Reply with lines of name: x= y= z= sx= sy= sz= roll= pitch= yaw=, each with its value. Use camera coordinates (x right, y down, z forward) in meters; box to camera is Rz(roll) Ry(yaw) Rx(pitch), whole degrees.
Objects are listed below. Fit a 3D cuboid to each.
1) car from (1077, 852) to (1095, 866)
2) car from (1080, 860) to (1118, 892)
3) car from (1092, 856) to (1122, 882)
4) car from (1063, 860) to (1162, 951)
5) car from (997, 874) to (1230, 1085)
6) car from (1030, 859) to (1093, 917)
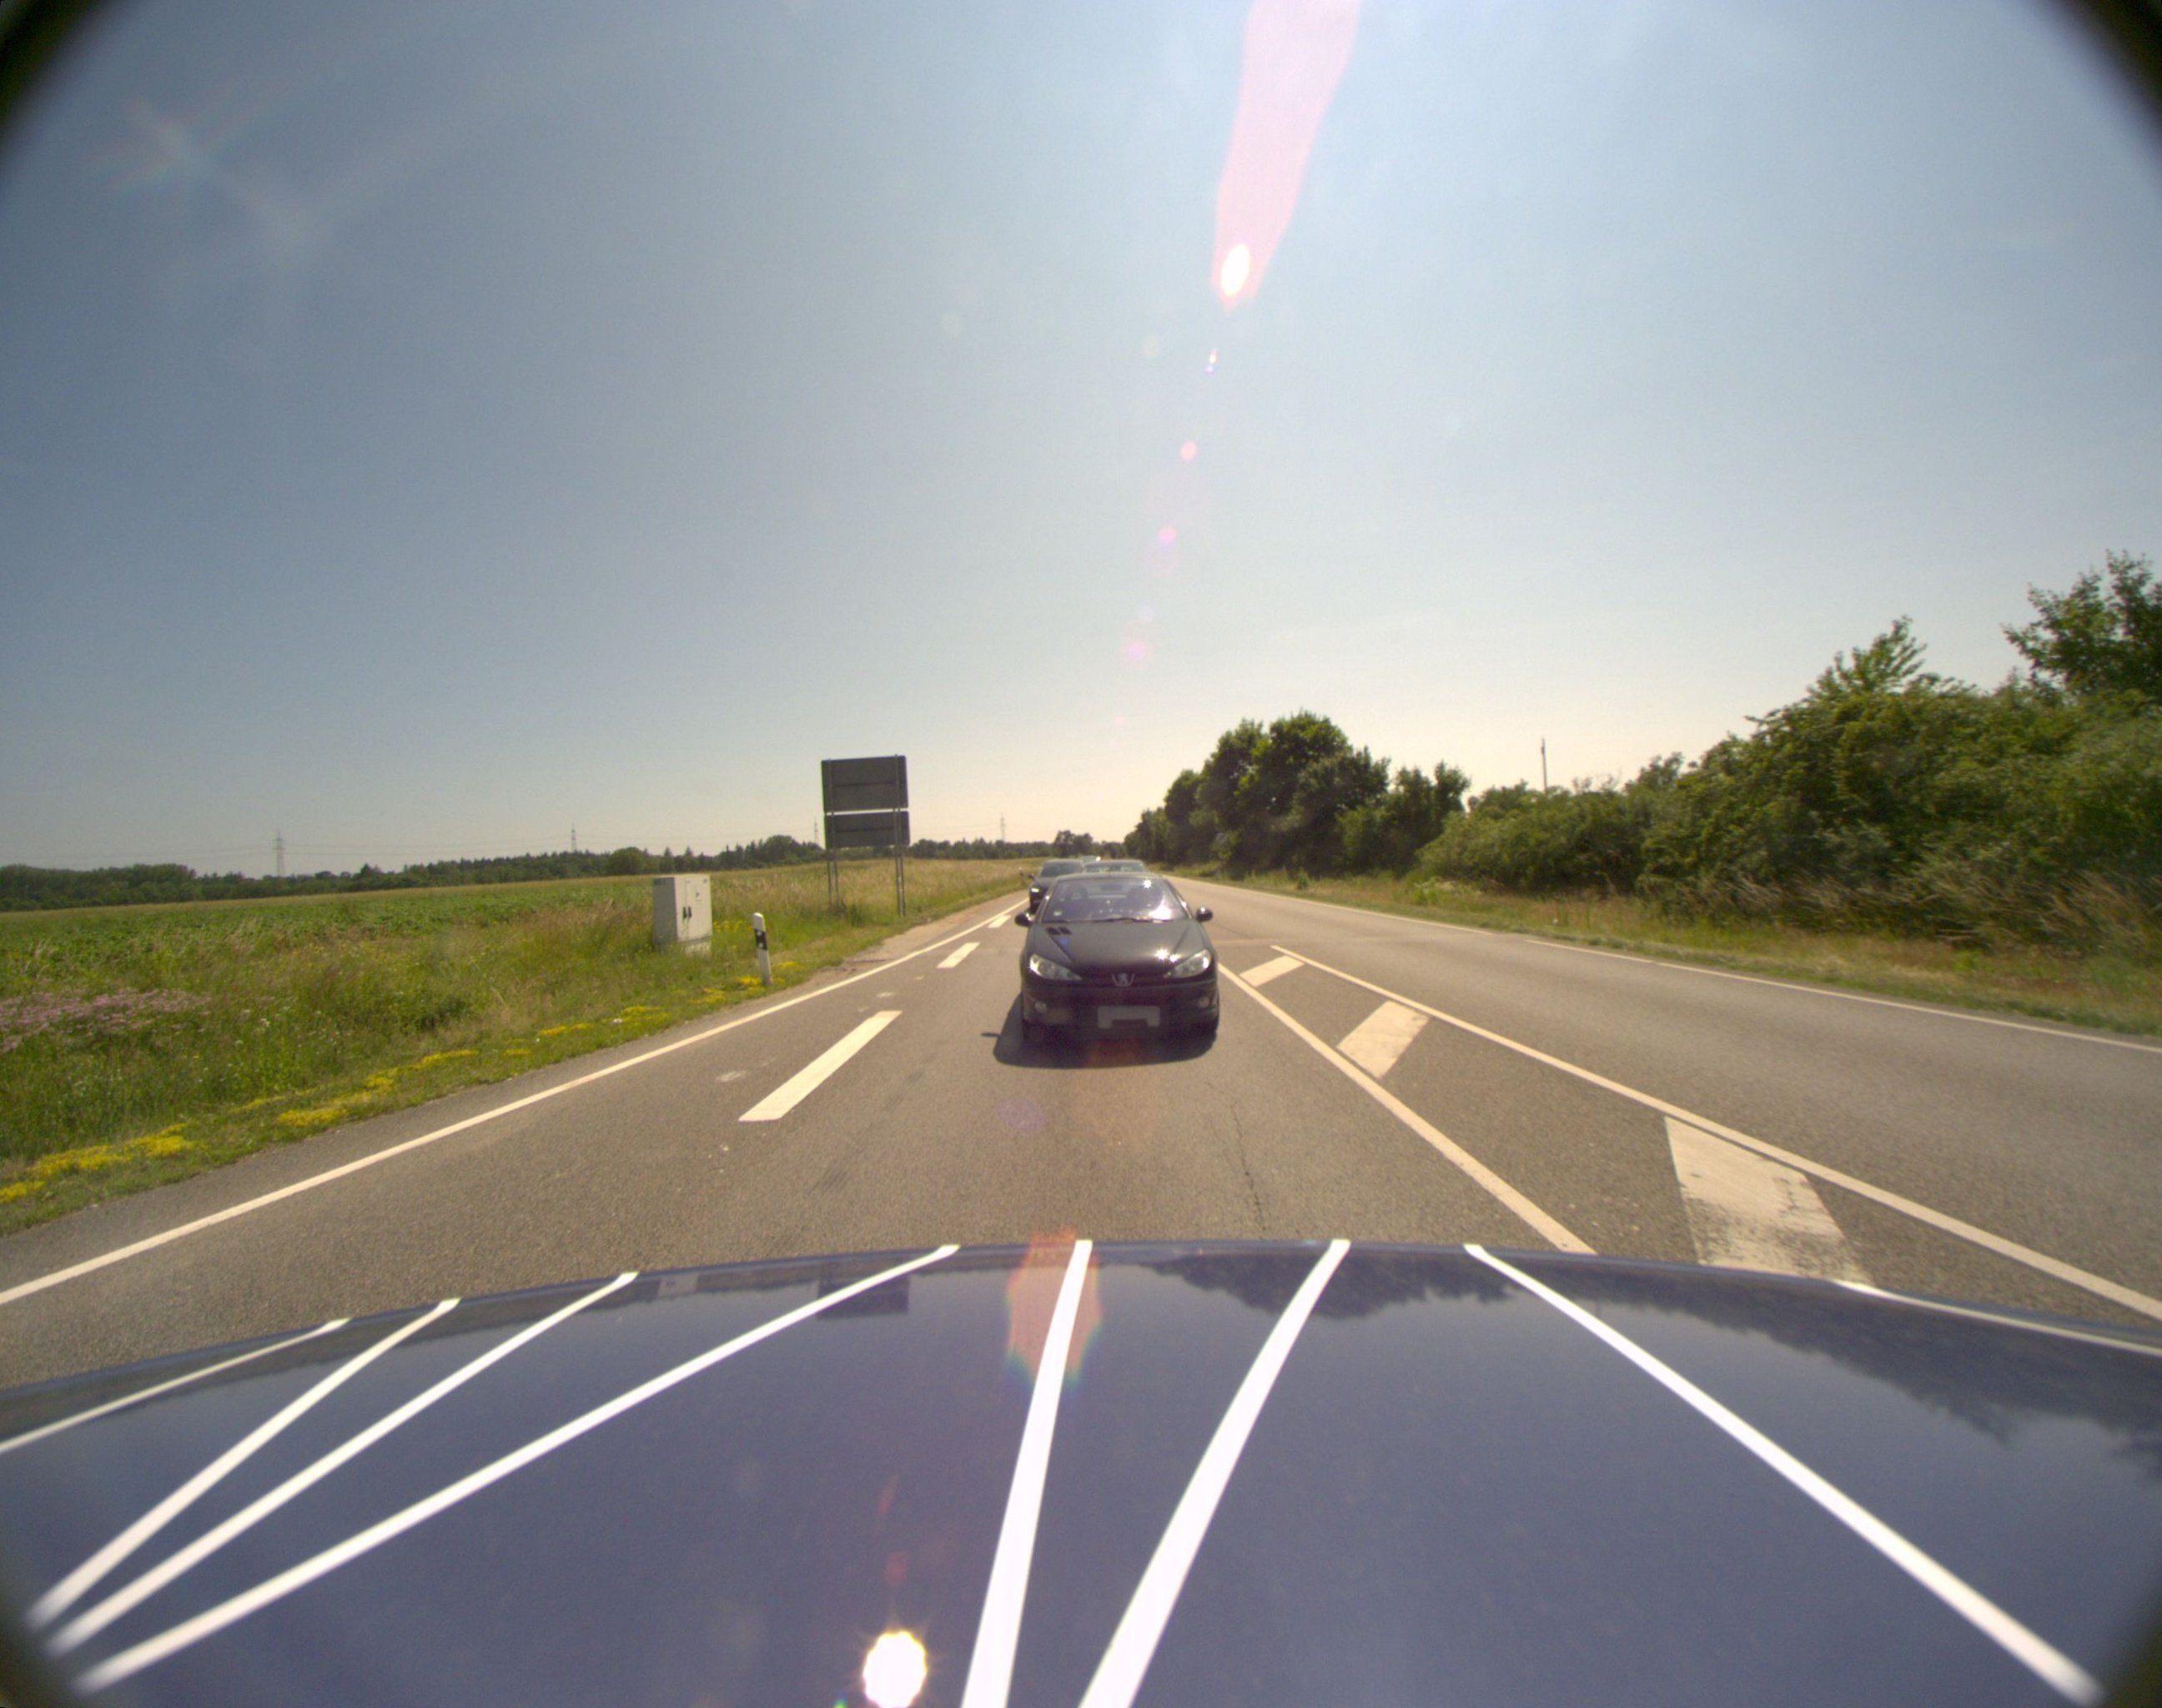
car: x=0.490 y=0.456 z=72.780 sx=1.588 sy=1.294 sz=3.631 roll=-2 pitch=0 yaw=1
car: x=0.797 y=0.953 z=34.153 sx=1.588 sy=1.294 sz=3.631 roll=-2 pitch=0 yaw=1
car: x=1.426 y=0.818 z=43.093 sx=1.588 sy=1.294 sz=3.631 roll=-2 pitch=0 yaw=1
car: x=0.603 y=0.916 z=15.058 sx=1.665 sy=1.477 sz=3.732 roll=-2 pitch=0 yaw=2
car: x=0.265 y=0.973 z=7.451 sx=1.665 sy=1.389 sz=3.731 roll=-2 pitch=0 yaw=1
car: x=-0.491 y=0.939 z=22.652 sx=1.665 sy=1.449 sz=4.173 roll=-2 pitch=0 yaw=1
